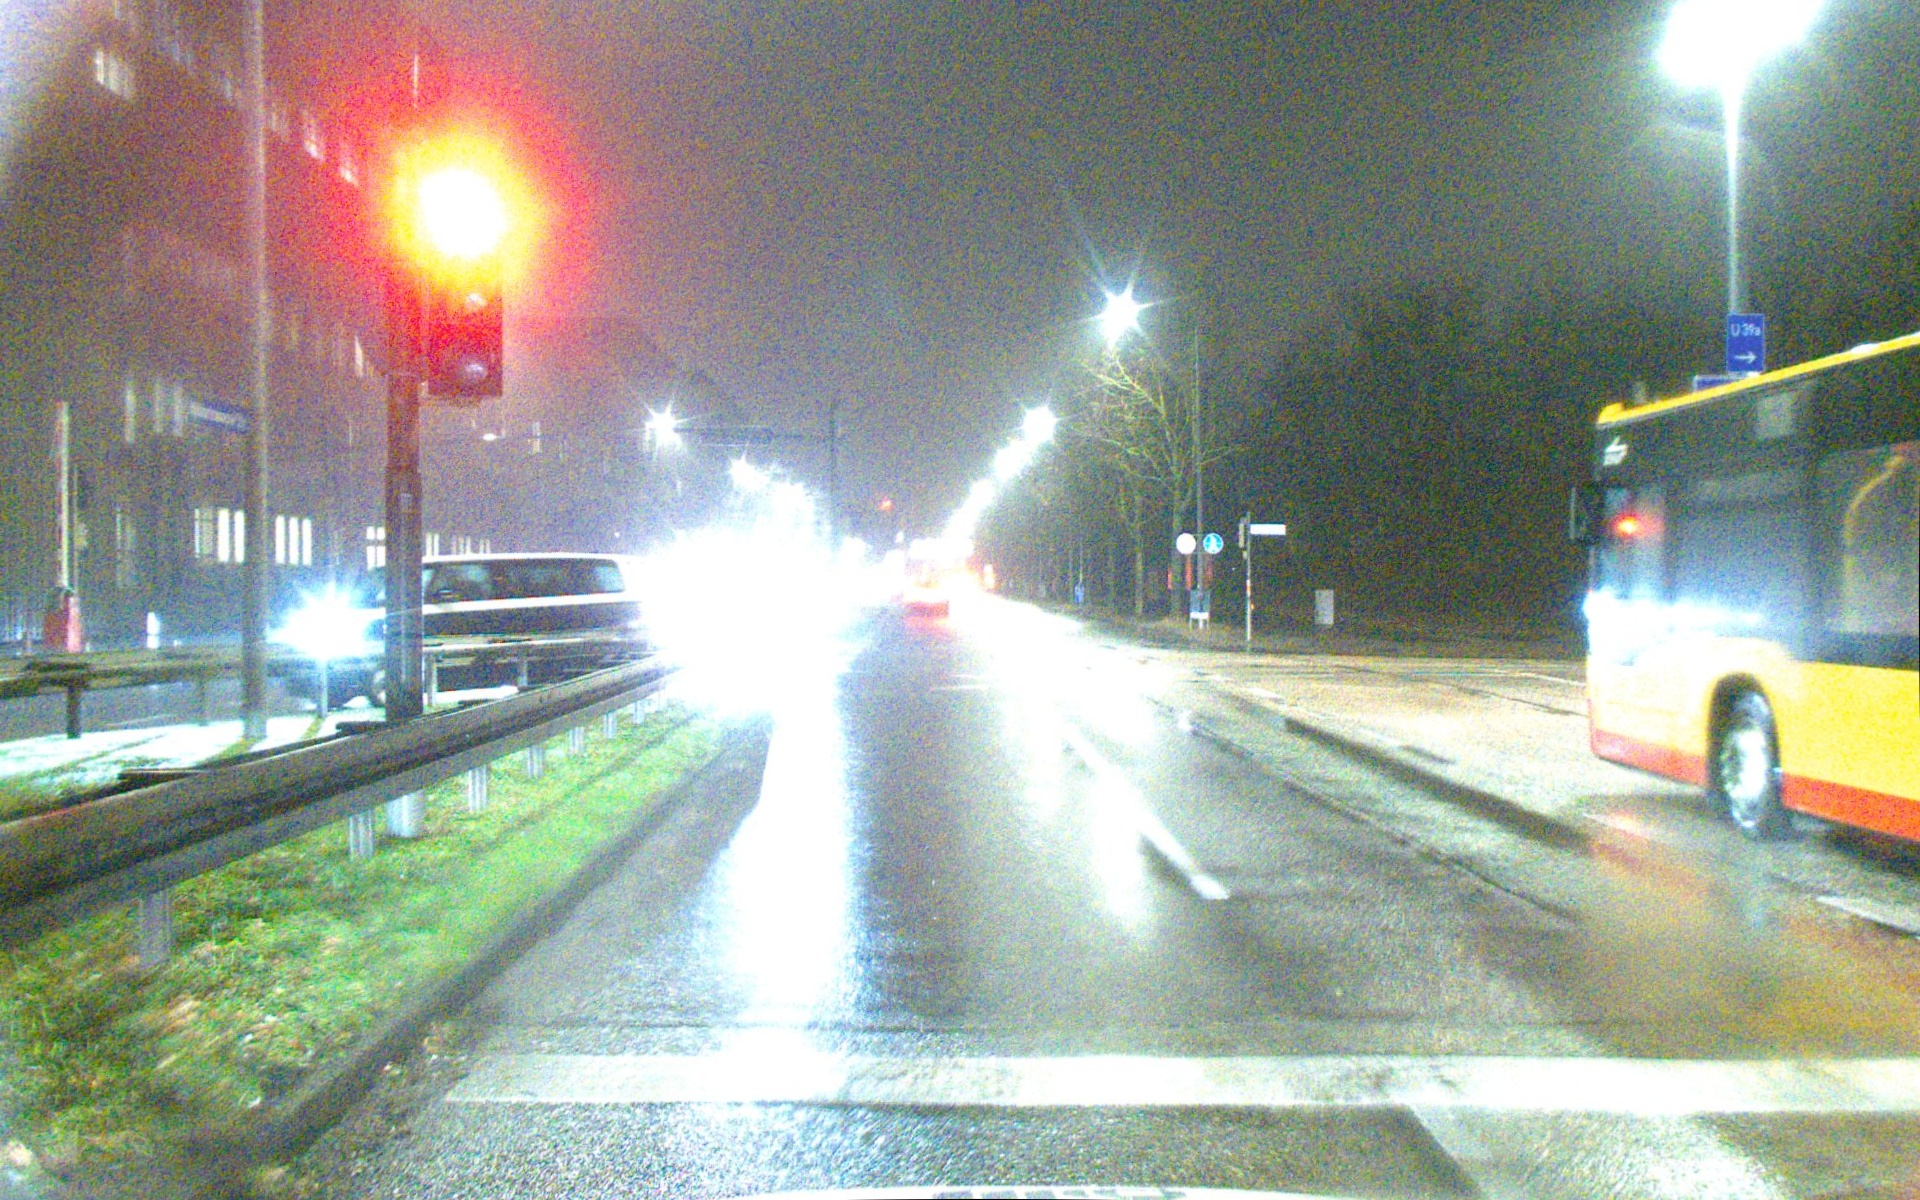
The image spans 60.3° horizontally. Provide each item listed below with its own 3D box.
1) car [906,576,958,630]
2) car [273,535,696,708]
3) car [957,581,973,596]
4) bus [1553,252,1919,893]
[{"bbox_3d":[-1.245,0.141,71.057,2.092,2.182,4.926,1,0,-2],"label":"car"},{"bbox_3d":[-6.127,0.226,21.783,5.072,2.019,1.967,-1,0,-45],"label":"car"},{"bbox_3d":[0.639,-1.516,217.817,1.953,1.790,3.999,1,0,-1],"label":"car"},{"bbox_3d":[6.113,-0.125,8.323,2.712,3.178,9.762,1,0,0],"label":"bus"}]
